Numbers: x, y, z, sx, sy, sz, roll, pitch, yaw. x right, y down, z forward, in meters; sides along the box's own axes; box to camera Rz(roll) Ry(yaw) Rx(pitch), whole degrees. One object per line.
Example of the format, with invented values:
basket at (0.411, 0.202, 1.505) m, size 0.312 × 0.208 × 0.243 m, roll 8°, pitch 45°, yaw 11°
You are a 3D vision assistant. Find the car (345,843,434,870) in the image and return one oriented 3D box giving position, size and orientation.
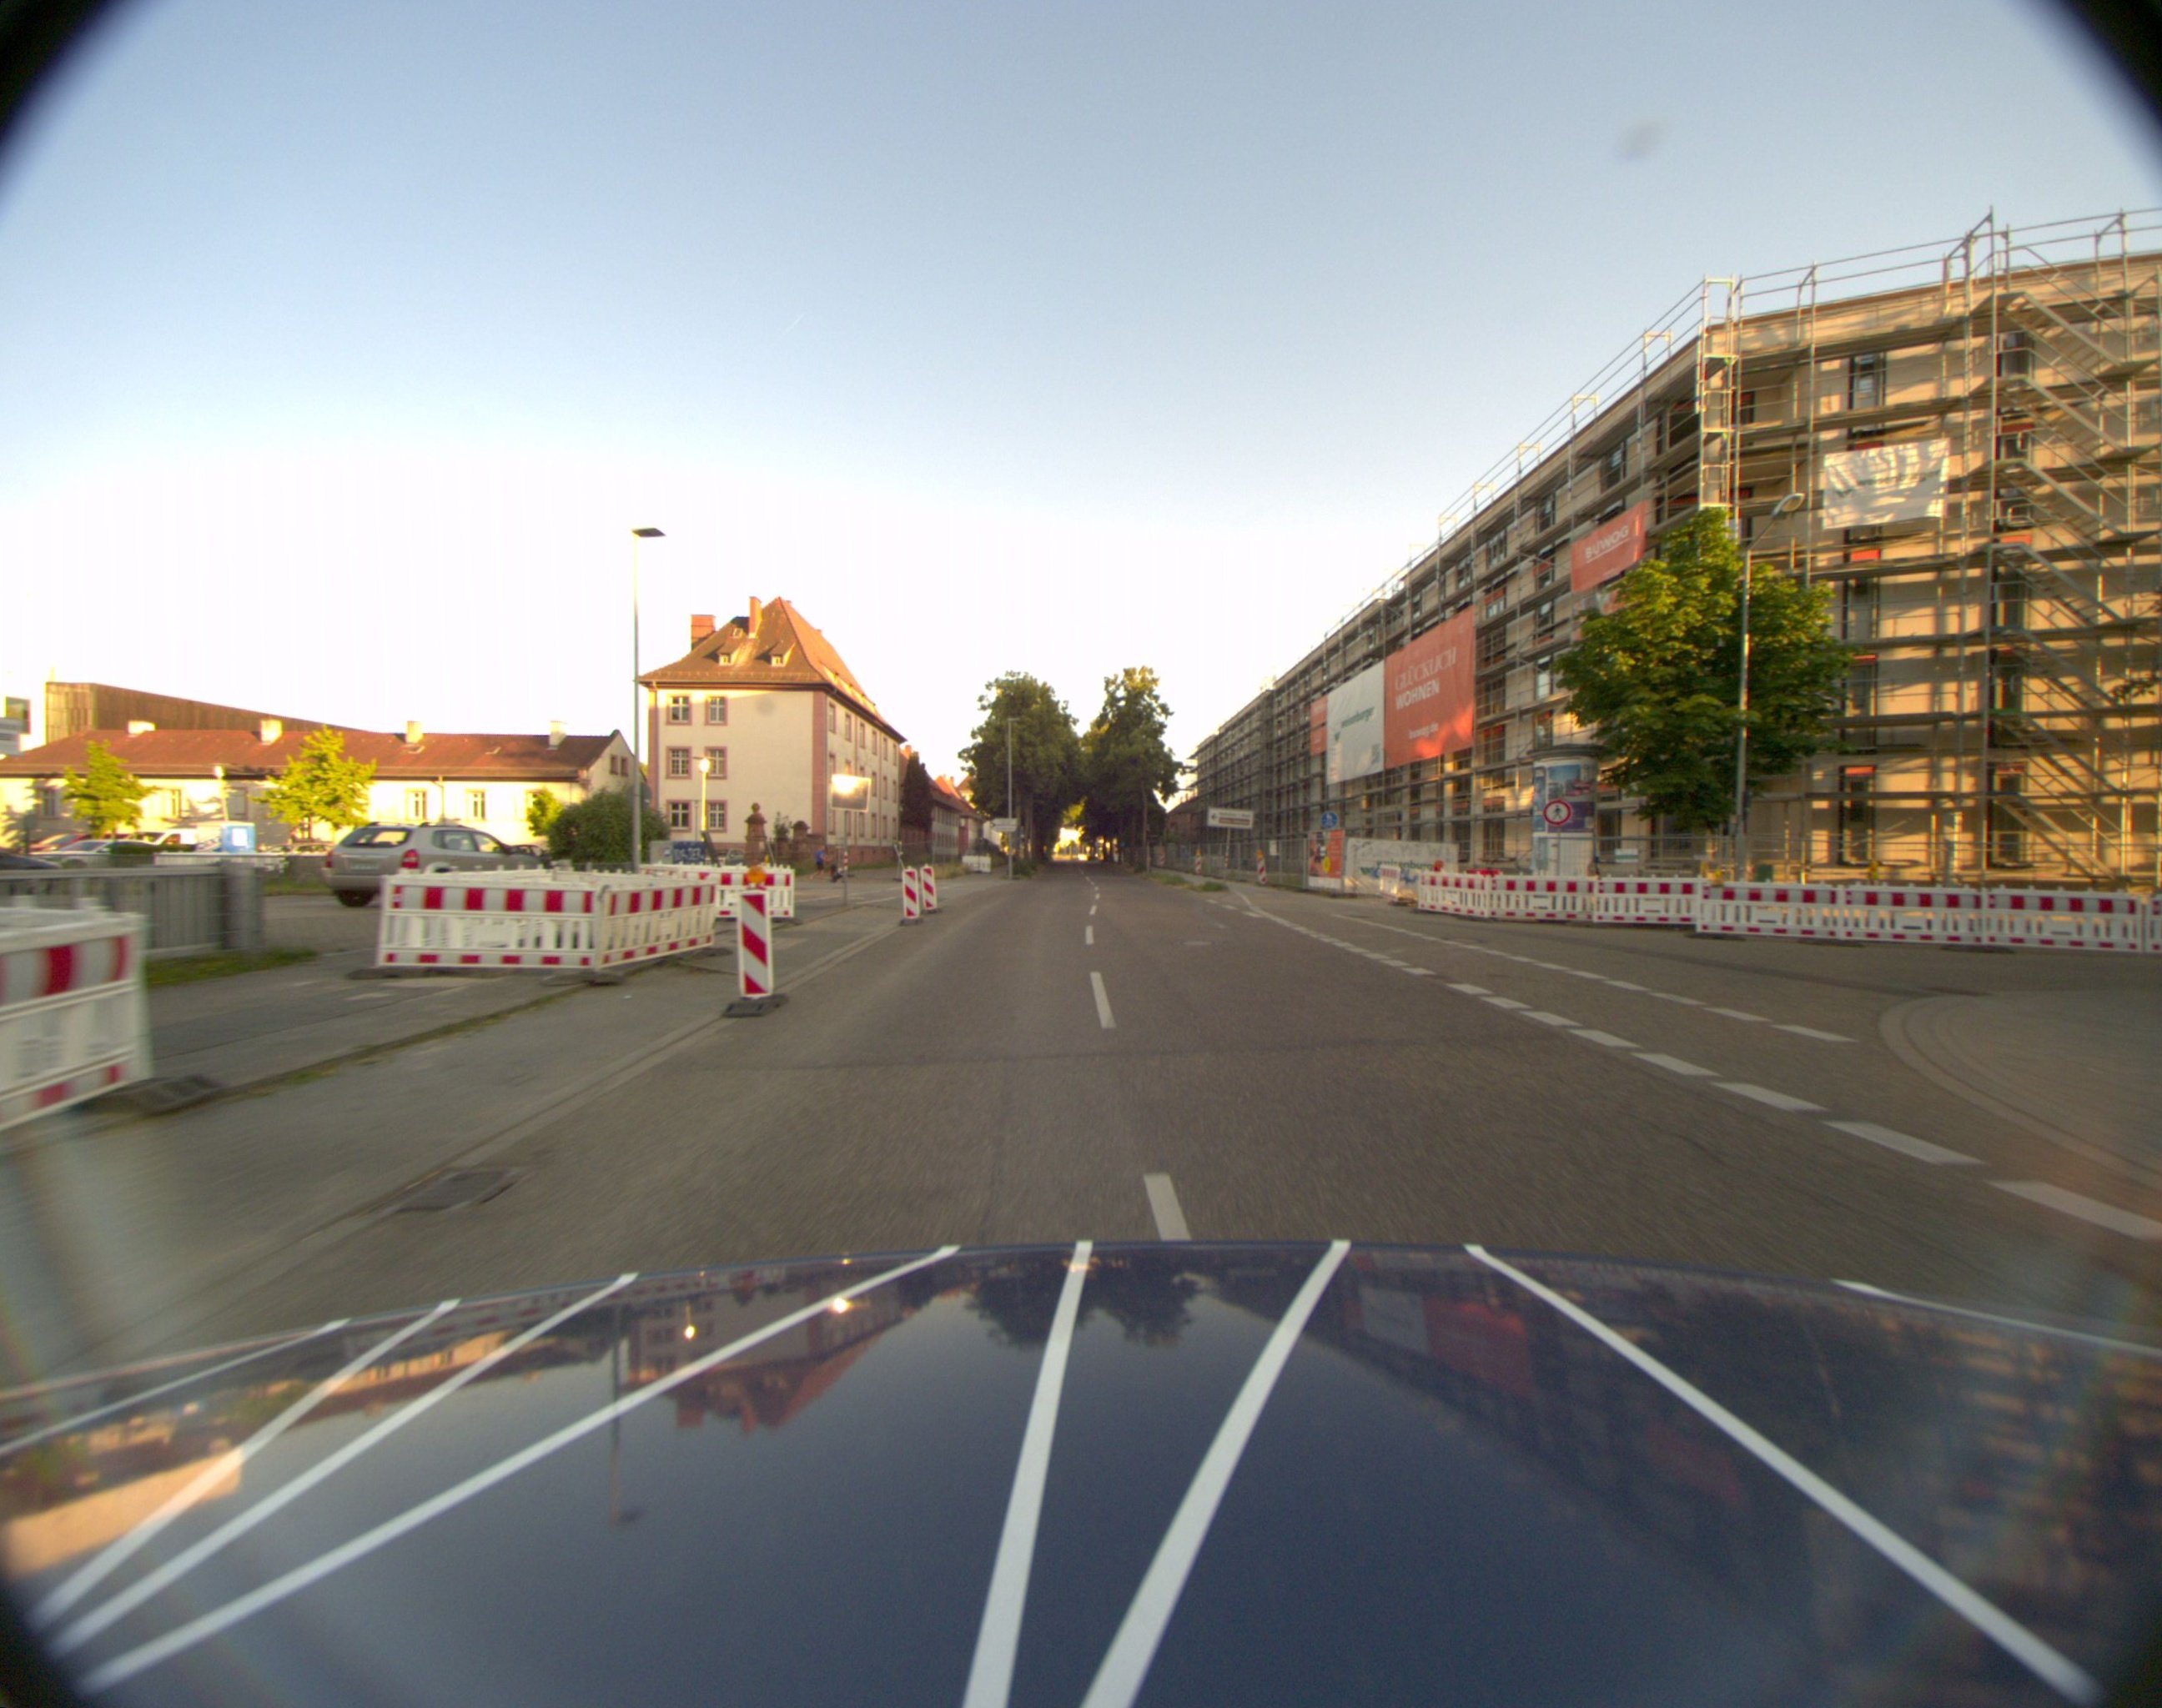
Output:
car at (-38.551, 0.134, 42.480) m, size 1.686 × 1.437 × 3.751 m, roll 0°, pitch 0°, yaw -4°

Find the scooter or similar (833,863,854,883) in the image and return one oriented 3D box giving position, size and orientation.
scooter or similar at (-10.872, 0.862, 34.786) m, size 0.805 × 0.885 × 0.515 m, roll 0°, pitch 1°, yaw 0°

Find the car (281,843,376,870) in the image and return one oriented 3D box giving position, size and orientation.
car at (-41.762, 0.104, 42.301) m, size 1.686 × 1.437 × 3.751 m, roll 0°, pitch 0°, yaw -4°

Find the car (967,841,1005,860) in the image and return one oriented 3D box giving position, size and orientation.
car at (-10.440, -0.414, 83.726) m, size 3.999 × 2.002 × 1.999 m, roll 1°, pitch 1°, yaw -5°

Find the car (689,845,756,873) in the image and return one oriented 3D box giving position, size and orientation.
car at (-19.657, 0.253, 41.904) m, size 1.999 × 1.450 × 3.998 m, roll 0°, pitch 0°, yaw -4°

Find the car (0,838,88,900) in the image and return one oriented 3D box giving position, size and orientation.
car at (-26.676, 0.356, 17.684) m, size 1.641 × 1.474 × 4.139 m, roll 1°, pitch 1°, yaw 2°

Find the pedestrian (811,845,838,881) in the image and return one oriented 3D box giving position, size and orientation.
pedestrian at (-11.775, 0.420, 34.893) m, size 1.014 × 1.633 × 0.752 m, roll 0°, pitch 1°, yaw 0°

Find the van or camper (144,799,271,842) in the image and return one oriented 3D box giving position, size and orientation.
van or camper at (-49.796, -1.839, 43.498) m, size 1.686 × 2.227 × 4.976 m, roll 0°, pitch 0°, yaw -4°

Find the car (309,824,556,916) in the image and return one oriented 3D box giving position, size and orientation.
car at (-13.596, 0.280, 16.350) m, size 1.702 × 1.699 × 4.282 m, roll 1°, pitch 1°, yaw -1°

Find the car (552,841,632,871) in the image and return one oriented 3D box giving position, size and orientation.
car at (-26.836, 0.119, 41.895) m, size 1.999 × 1.564 × 3.998 m, roll 0°, pitch 0°, yaw -4°

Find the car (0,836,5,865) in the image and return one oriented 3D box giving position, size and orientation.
car at (-50.478, -0.180, 32.920) m, size 2.063 × 1.305 × 4.000 m, roll 1°, pitch 0°, yaw -1°
